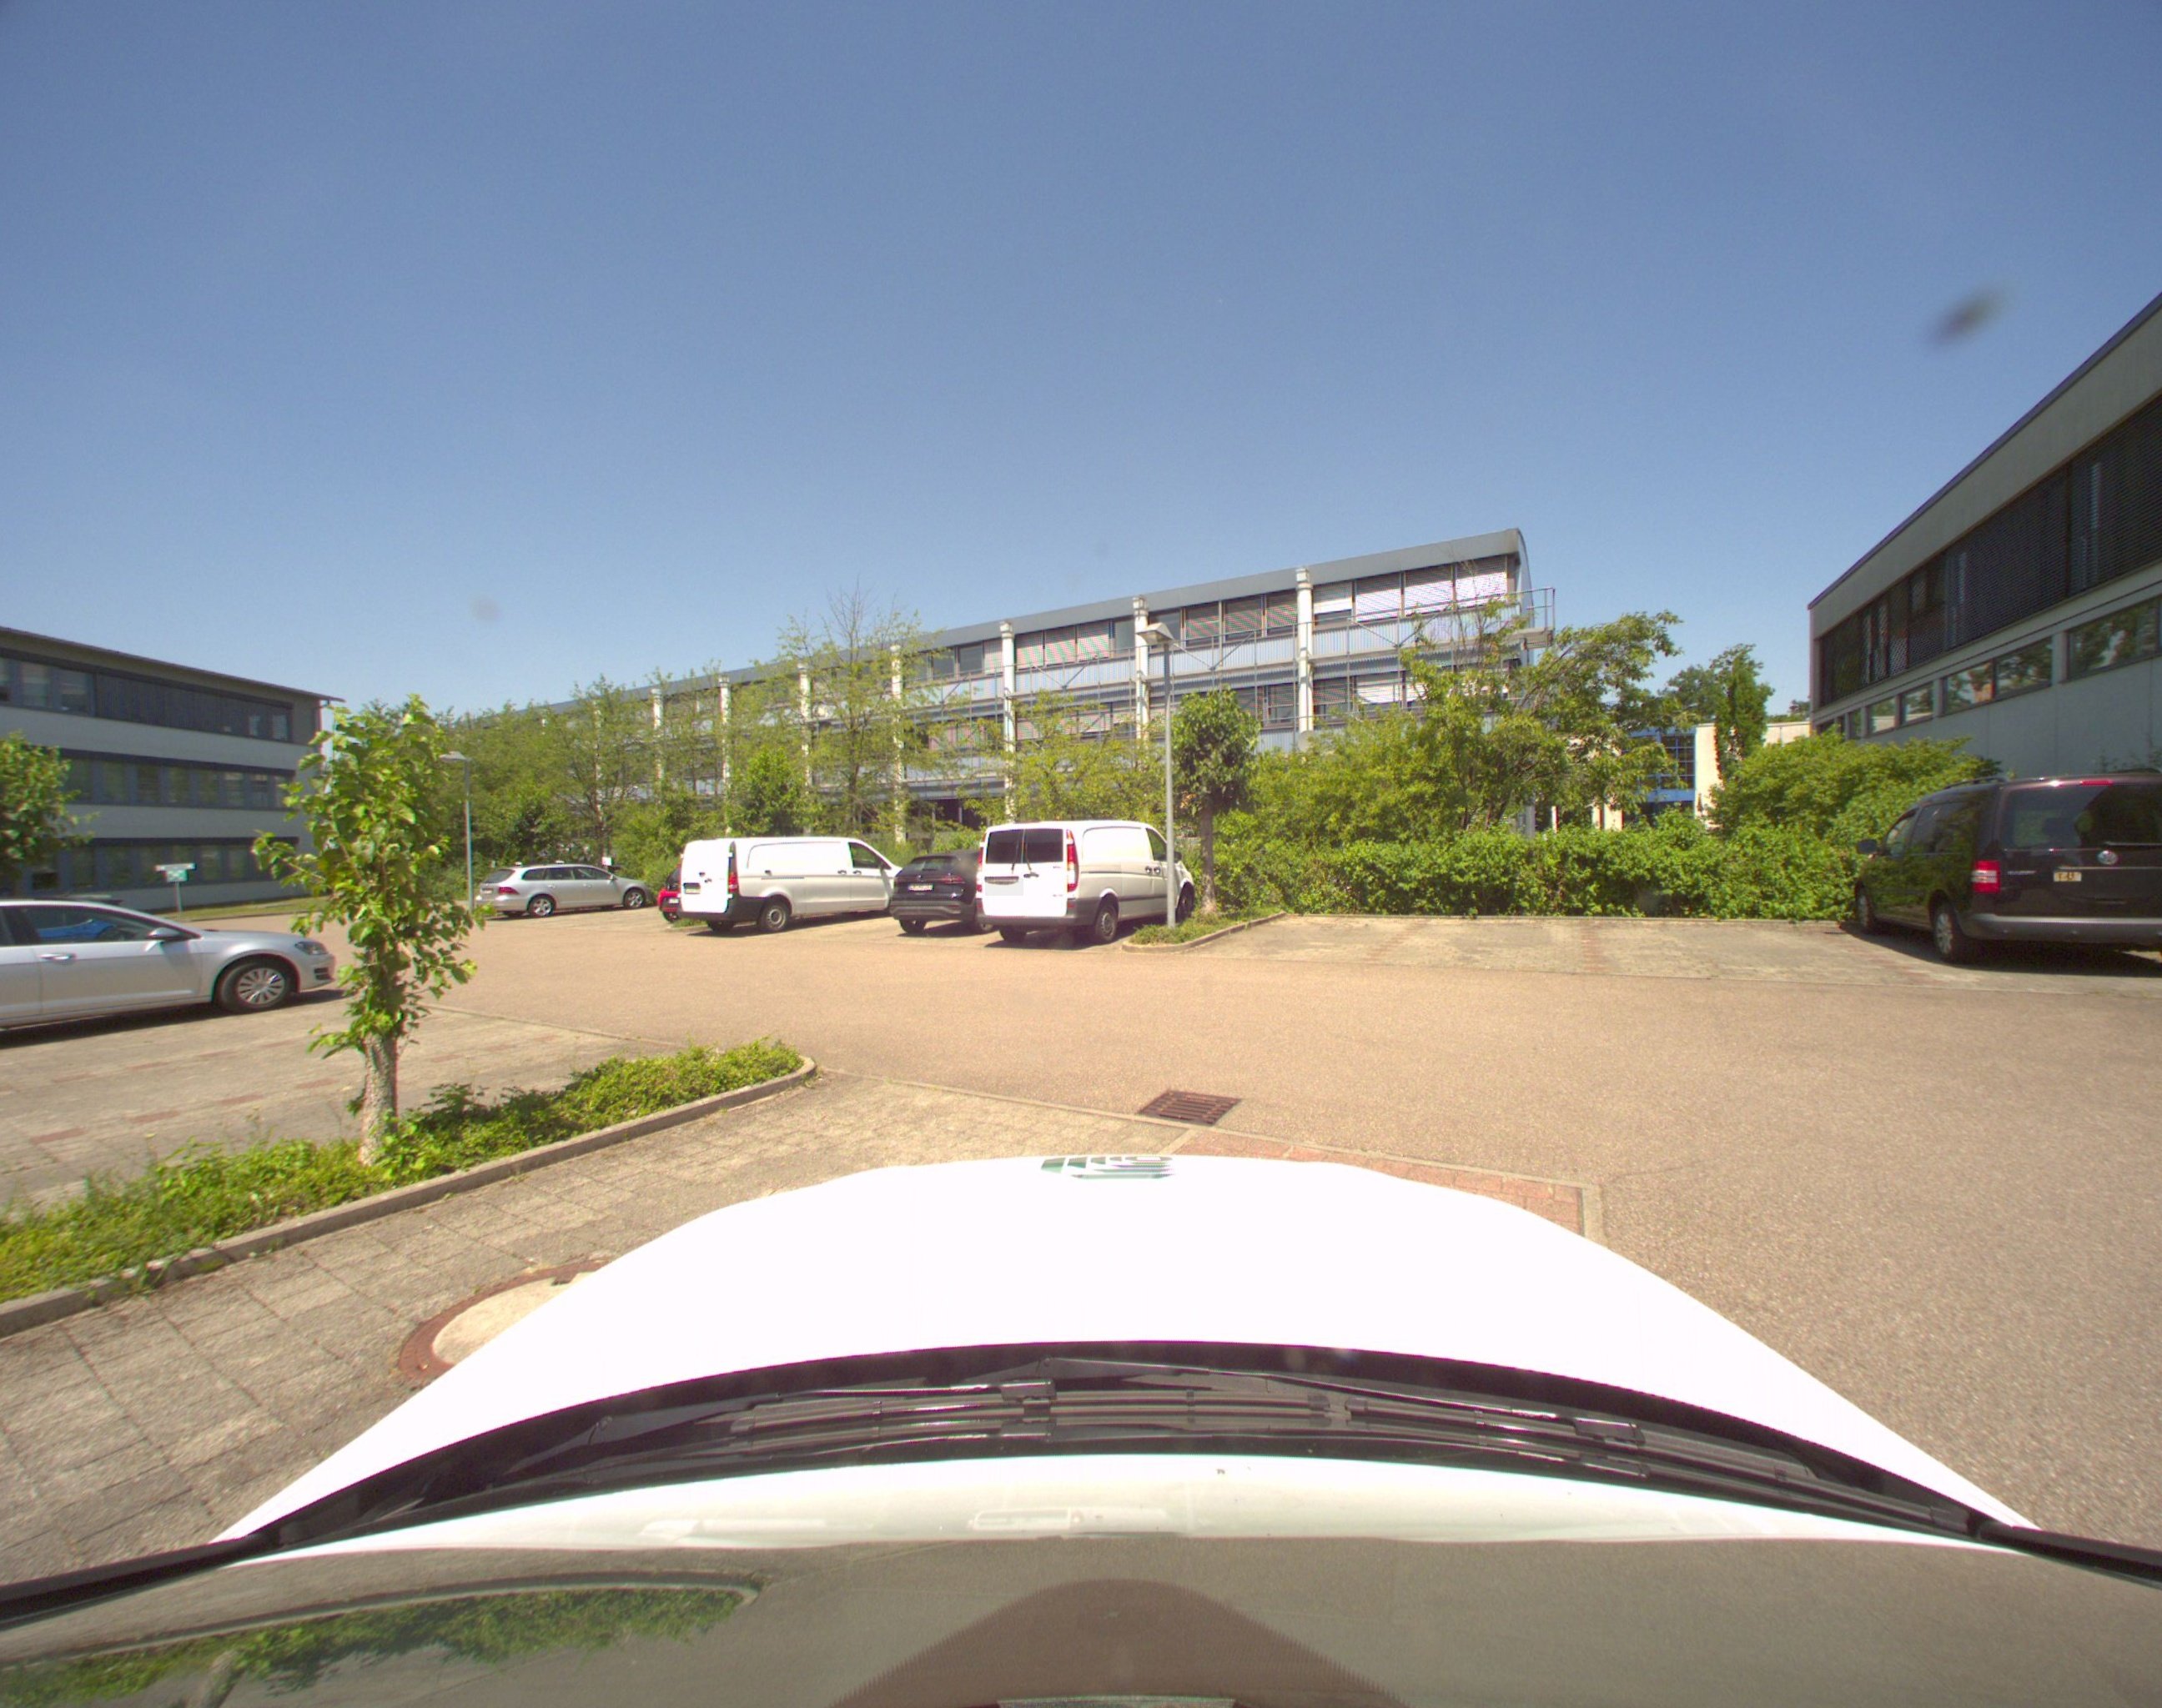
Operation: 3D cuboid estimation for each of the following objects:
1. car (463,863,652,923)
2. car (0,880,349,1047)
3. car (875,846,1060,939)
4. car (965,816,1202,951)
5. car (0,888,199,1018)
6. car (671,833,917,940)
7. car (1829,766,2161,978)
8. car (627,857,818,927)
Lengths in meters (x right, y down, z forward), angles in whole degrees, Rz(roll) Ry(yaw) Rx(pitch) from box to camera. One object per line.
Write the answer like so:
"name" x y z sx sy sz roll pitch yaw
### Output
"car" -15.065 1.049 23.669 1.849 1.406 4.197 -1 1 33
"car" -11.061 1.134 8.632 1.839 1.472 4.512 -1 1 30
"car" -2.025 0.653 15.819 1.739 1.476 4.022 -2 1 21
"car" 0.280 0.361 14.037 1.895 1.905 4.838 -2 1 29
"car" -14.354 1.323 10.287 1.974 1.461 4.026 -2 2 33
"car" -5.959 0.566 17.567 1.863 1.891 4.834 -1 1 32
"car" 10.016 0.115 8.985 1.726 1.837 4.025 -2 1 30
"car" -8.850 0.881 20.421 1.765 1.441 4.026 -2 1 33
